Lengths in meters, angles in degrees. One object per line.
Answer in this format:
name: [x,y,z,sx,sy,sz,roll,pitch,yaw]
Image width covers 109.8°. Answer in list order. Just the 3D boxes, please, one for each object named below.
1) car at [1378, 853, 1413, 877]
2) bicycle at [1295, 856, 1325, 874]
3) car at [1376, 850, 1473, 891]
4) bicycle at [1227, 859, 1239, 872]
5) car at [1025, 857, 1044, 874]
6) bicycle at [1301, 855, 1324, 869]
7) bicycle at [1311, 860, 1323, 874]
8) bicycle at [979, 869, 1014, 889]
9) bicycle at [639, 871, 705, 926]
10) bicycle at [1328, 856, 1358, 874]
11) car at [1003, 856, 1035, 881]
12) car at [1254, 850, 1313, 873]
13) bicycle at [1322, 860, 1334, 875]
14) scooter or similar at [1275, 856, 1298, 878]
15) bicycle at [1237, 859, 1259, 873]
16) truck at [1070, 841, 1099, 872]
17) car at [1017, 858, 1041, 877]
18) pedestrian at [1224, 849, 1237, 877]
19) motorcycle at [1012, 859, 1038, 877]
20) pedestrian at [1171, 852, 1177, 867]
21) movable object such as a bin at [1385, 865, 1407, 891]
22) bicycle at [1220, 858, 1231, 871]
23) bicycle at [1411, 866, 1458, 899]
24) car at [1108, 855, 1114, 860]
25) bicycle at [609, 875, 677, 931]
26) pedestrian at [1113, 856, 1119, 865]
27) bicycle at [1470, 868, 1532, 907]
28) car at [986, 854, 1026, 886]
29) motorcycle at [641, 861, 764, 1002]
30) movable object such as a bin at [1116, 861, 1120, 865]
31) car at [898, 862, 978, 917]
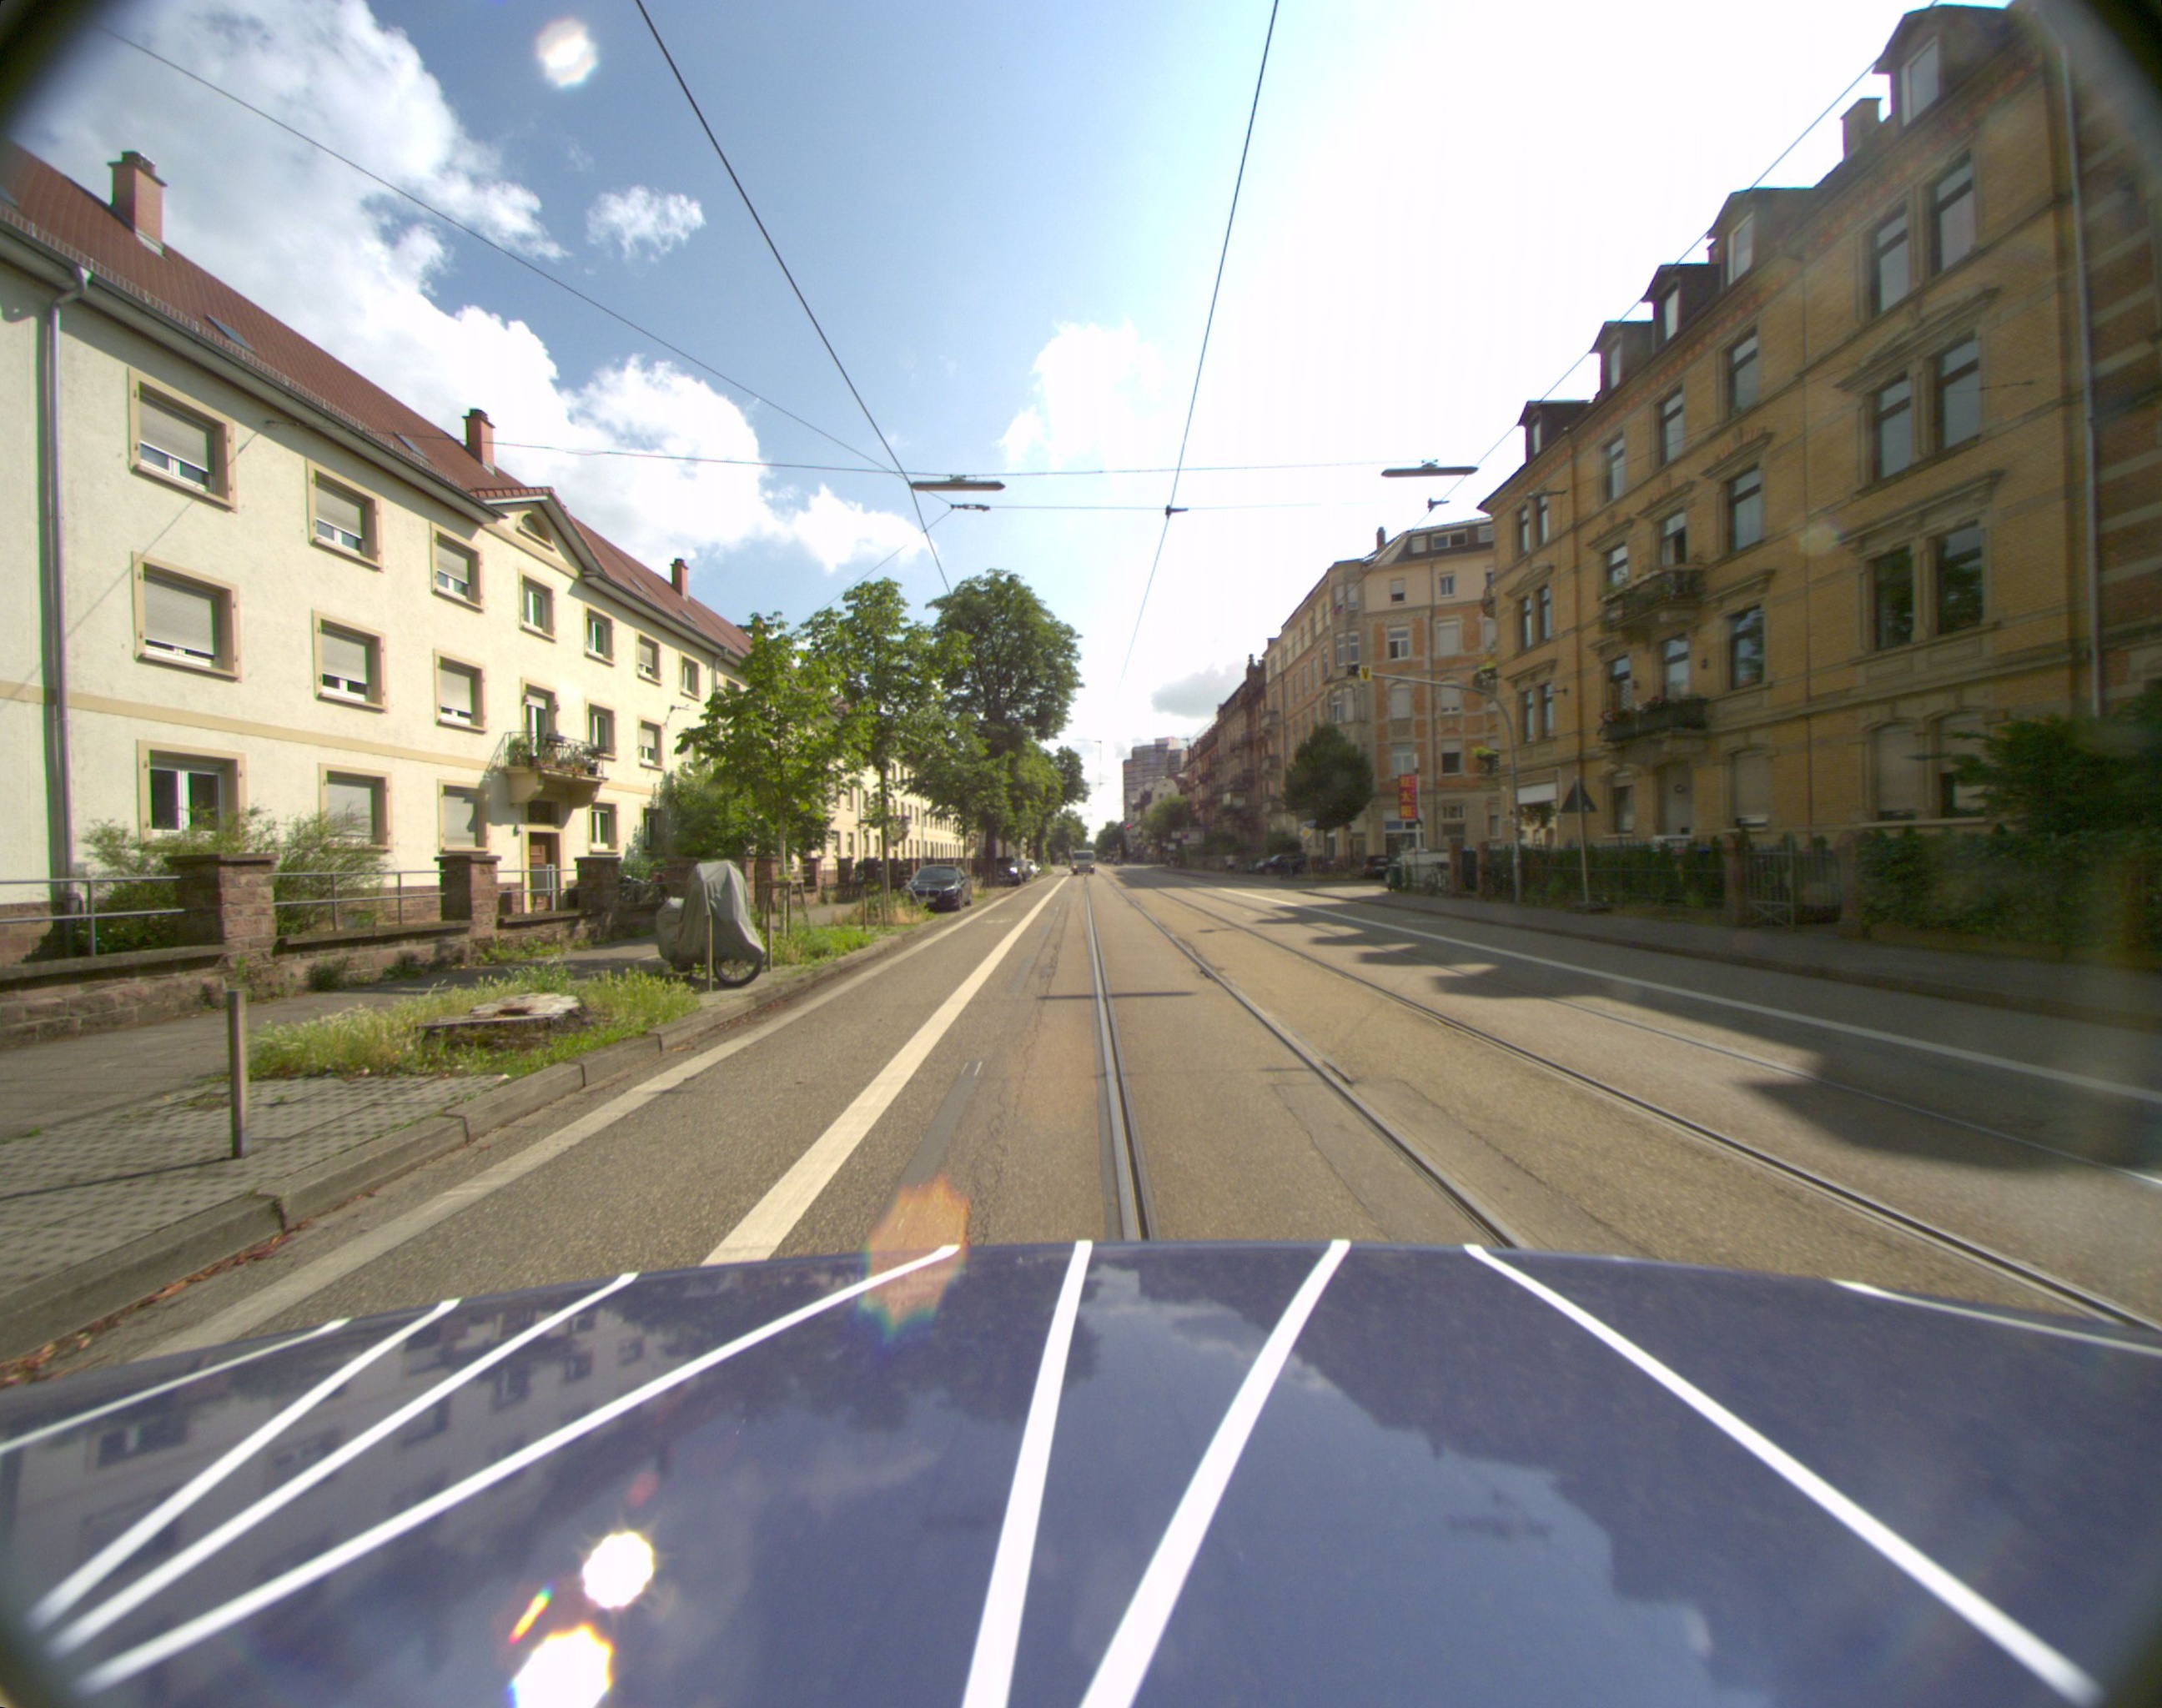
car: [18.252,0.620,44.216,1.641,1.352,3.932,-1,0,19]
bicycle: [14.484,0.706,48.035,1.759,1.057,0.524,-2,0,-5]
car: [13.488,0.608,30.135,1.689,1.451,4.764,-1,0,0]
bicycle: [11.186,0.833,55.961,0.422,0.971,1.949,-2,0,0]
car: [-4.509,1.094,74.280,1.665,1.512,4.287,-2,0,-1]
bicycle: [16.506,0.595,54.199,1.456,0.971,0.404,-1,0,0]
bicycle: [14.301,0.798,46.093,0.524,0.833,1.700,-2,-1,13]
bicycle: [-4.422,1.301,39.928,1.712,1.001,0.638,-1,0,1]
bicycle: [-9.756,1.038,18.187,0.601,1.204,1.704,-1,0,1]
bicycle: [16.349,0.694,47.471,1.695,1.057,0.525,-2,0,11]
car: [-4.402,1.029,54.646,1.867,1.643,4.637,-2,0,0]
car: [13.874,0.511,52.181,3.611,1.394,1.787,-2,0,4]
bicycle: [14.843,0.812,45.591,0.524,0.833,1.700,-2,-1,13]
scooter or similar: [12.283,0.765,45.368,1.367,1.228,0.403,-3,1,-28]
bicycle: [11.819,0.826,53.744,1.456,0.971,0.404,-1,0,0]
truck: [0.294,0.255,72.321,2.532,2.721,6.514,-2,0,-1]
car: [-4.473,1.128,65.930,1.746,1.571,4.248,-2,0,-1]
pedestrian: [9.930,0.587,50.346,0.534,1.750,1.105,-4,0,0]
motorcycle: [-4.519,1.138,61.450,2.012,1.329,0.747,-2,0,-4]
pedestrian: [10.726,0.649,87.985,0.489,1.693,1.151,-2,0,-2]
movable object such as a bin: [11.575,0.873,27.963,0.526,0.900,0.636,-1,0,-1]
bicycle: [11.153,0.807,58.539,0.422,0.971,1.949,-2,0,0]
bicycle: [10.990,0.866,23.659,0.531,0.941,1.968,-1,0,0]
car: [10.136,1.128,253.417,1.841,1.482,3.892,-2,0,0]
bicycle: [-10.463,1.142,18.213,0.601,1.204,1.704,-1,0,1]
pedestrian: [6.202,1.175,135.550,0.783,1.565,0.692,-2,0,-14]
bicycle: [11.020,0.855,20.018,0.531,0.941,1.968,-1,0,0]
car: [-4.354,0.902,44.744,1.832,1.772,4.733,-1,0,0]
motorcycle: [-4.877,0.900,9.690,0.680,1.588,2.380,-2,1,-44]
movable object such as a bin: [6.688,1.578,136.318,0.513,0.713,0.457,-2,0,-14]
car: [-4.576,1.091,24.889,1.710,1.470,4.196,-4,0,0]
